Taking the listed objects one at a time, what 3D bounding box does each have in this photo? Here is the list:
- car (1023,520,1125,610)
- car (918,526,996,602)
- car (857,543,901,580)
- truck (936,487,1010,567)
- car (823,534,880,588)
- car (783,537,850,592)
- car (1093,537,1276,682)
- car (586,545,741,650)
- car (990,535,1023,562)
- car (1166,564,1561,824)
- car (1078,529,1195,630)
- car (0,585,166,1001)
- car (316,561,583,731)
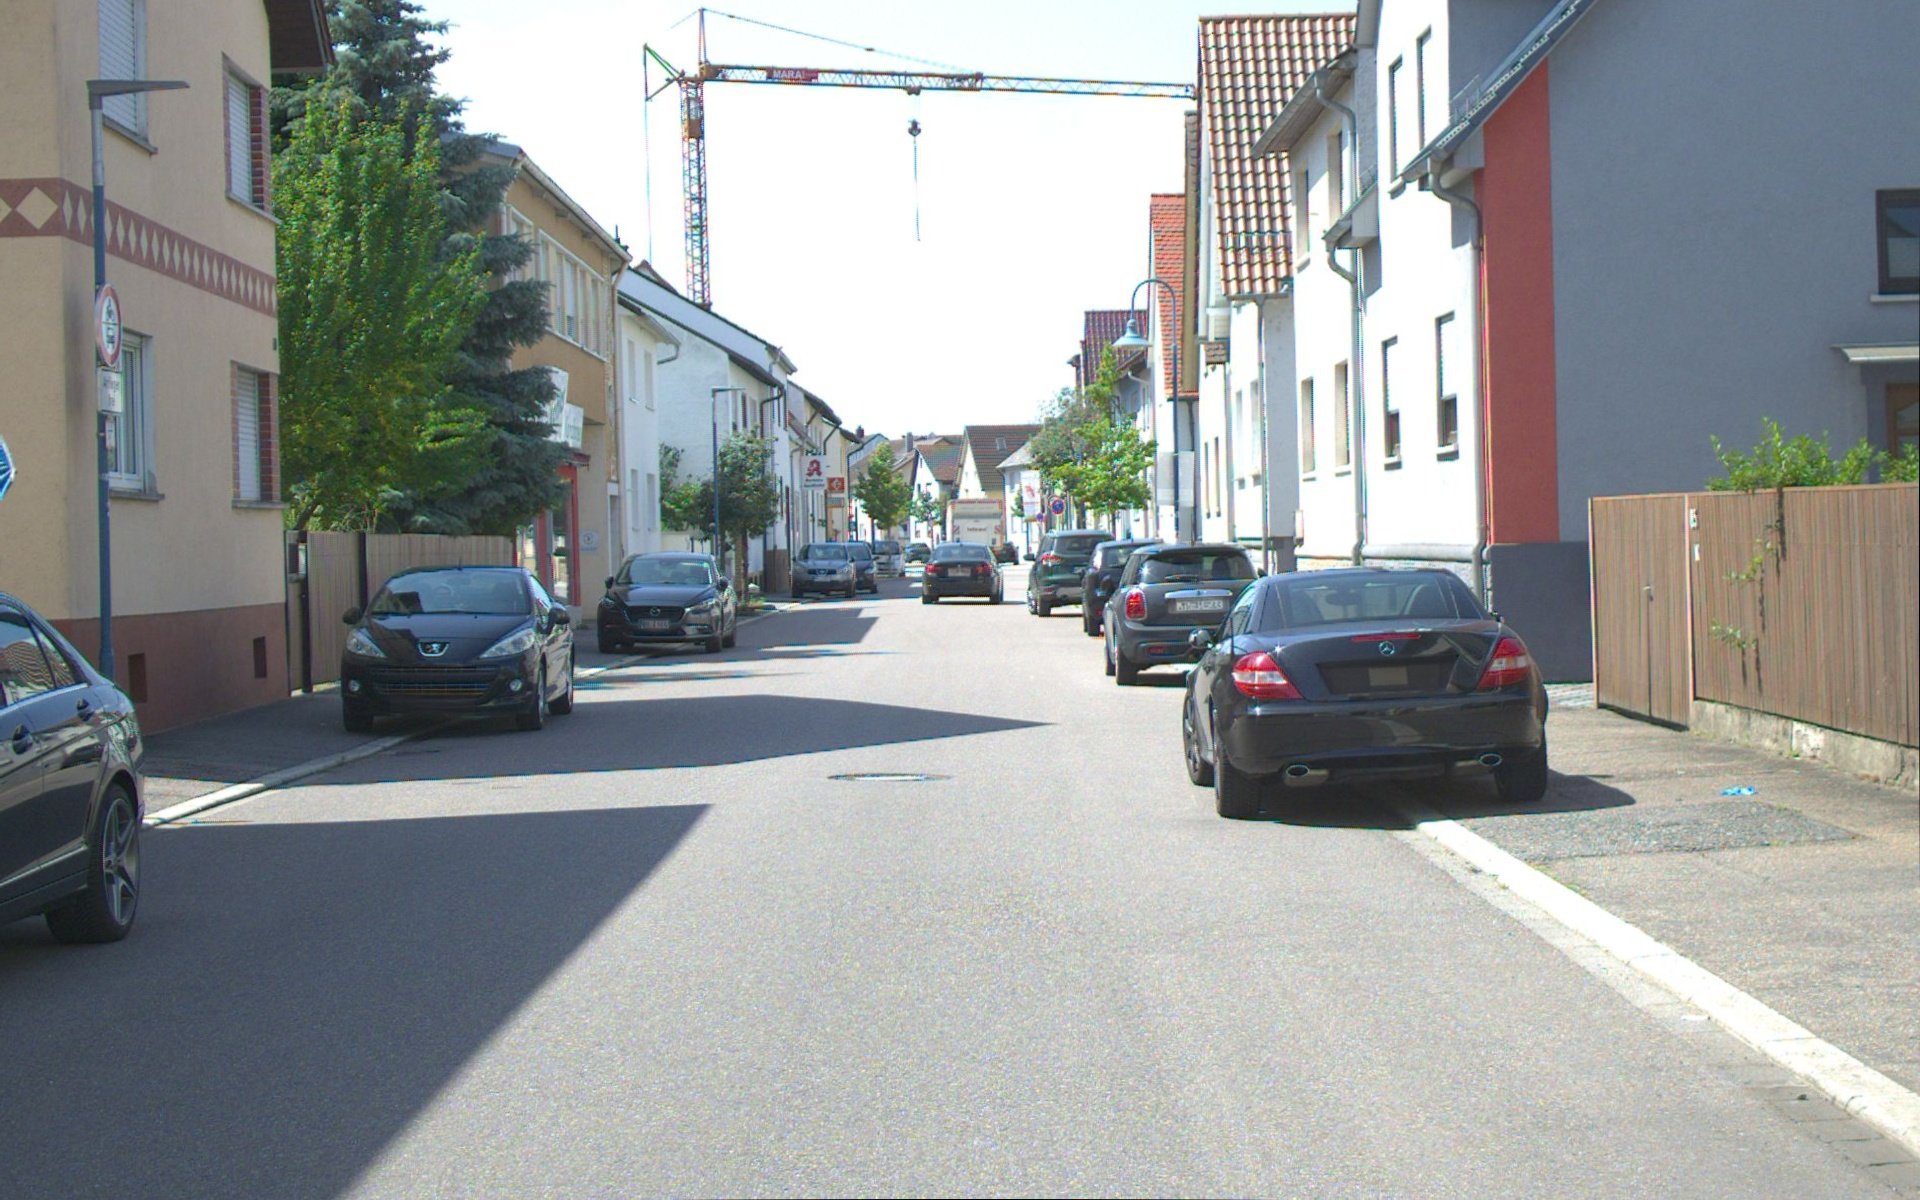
[{"bbox_3d":[2.255,-0.710,68.675,1.728,1.711,4.276,-1,1,-2],"label":"car"},{"bbox_3d":[-0.087,-0.872,83.140,1.783,1.747,4.000,-2,1,-1],"label":"car"},{"bbox_3d":[-3.437,-1.641,146.873,1.723,1.550,4.172,0,1,1],"label":"car"},{"bbox_3d":[0.609,-3.700,177.845,3.379,3.852,13.927,-2,1,-1],"label":"truck"},{"bbox_3d":[-3.373,-1.239,107.354,1.653,1.603,4.061,-2,1,0],"label":"car"},{"bbox_3d":[-4.170,-1.048,100.580,1.758,1.519,4.289,-2,1,0],"label":"car"},{"bbox_3d":[2.326,0.061,36.376,1.688,1.417,3.657,-1,1,0],"label":"car"},{"bbox_3d":[-4.374,-0.076,51.271,1.768,1.455,4.436,-1,1,2],"label":"car"},{"bbox_3d":[2.788,-3.069,206.563,1.782,1.558,4.337,-2,1,-2],"label":"car"},{"bbox_3d":[2.195,0.461,19.714,1.816,1.271,4.147,-1,1,1],"label":"car"},{"bbox_3d":[2.842,-0.359,56.117,1.617,1.490,3.972,-4,1,0],"label":"car"},{"bbox_3d":[-4.180,0.693,12.119,1.697,1.407,4.390,-1,1,0],"label":"car"},{"bbox_3d":[-4.436,0.356,30.387,1.761,1.369,4.067,0,1,0],"label":"car"}]
